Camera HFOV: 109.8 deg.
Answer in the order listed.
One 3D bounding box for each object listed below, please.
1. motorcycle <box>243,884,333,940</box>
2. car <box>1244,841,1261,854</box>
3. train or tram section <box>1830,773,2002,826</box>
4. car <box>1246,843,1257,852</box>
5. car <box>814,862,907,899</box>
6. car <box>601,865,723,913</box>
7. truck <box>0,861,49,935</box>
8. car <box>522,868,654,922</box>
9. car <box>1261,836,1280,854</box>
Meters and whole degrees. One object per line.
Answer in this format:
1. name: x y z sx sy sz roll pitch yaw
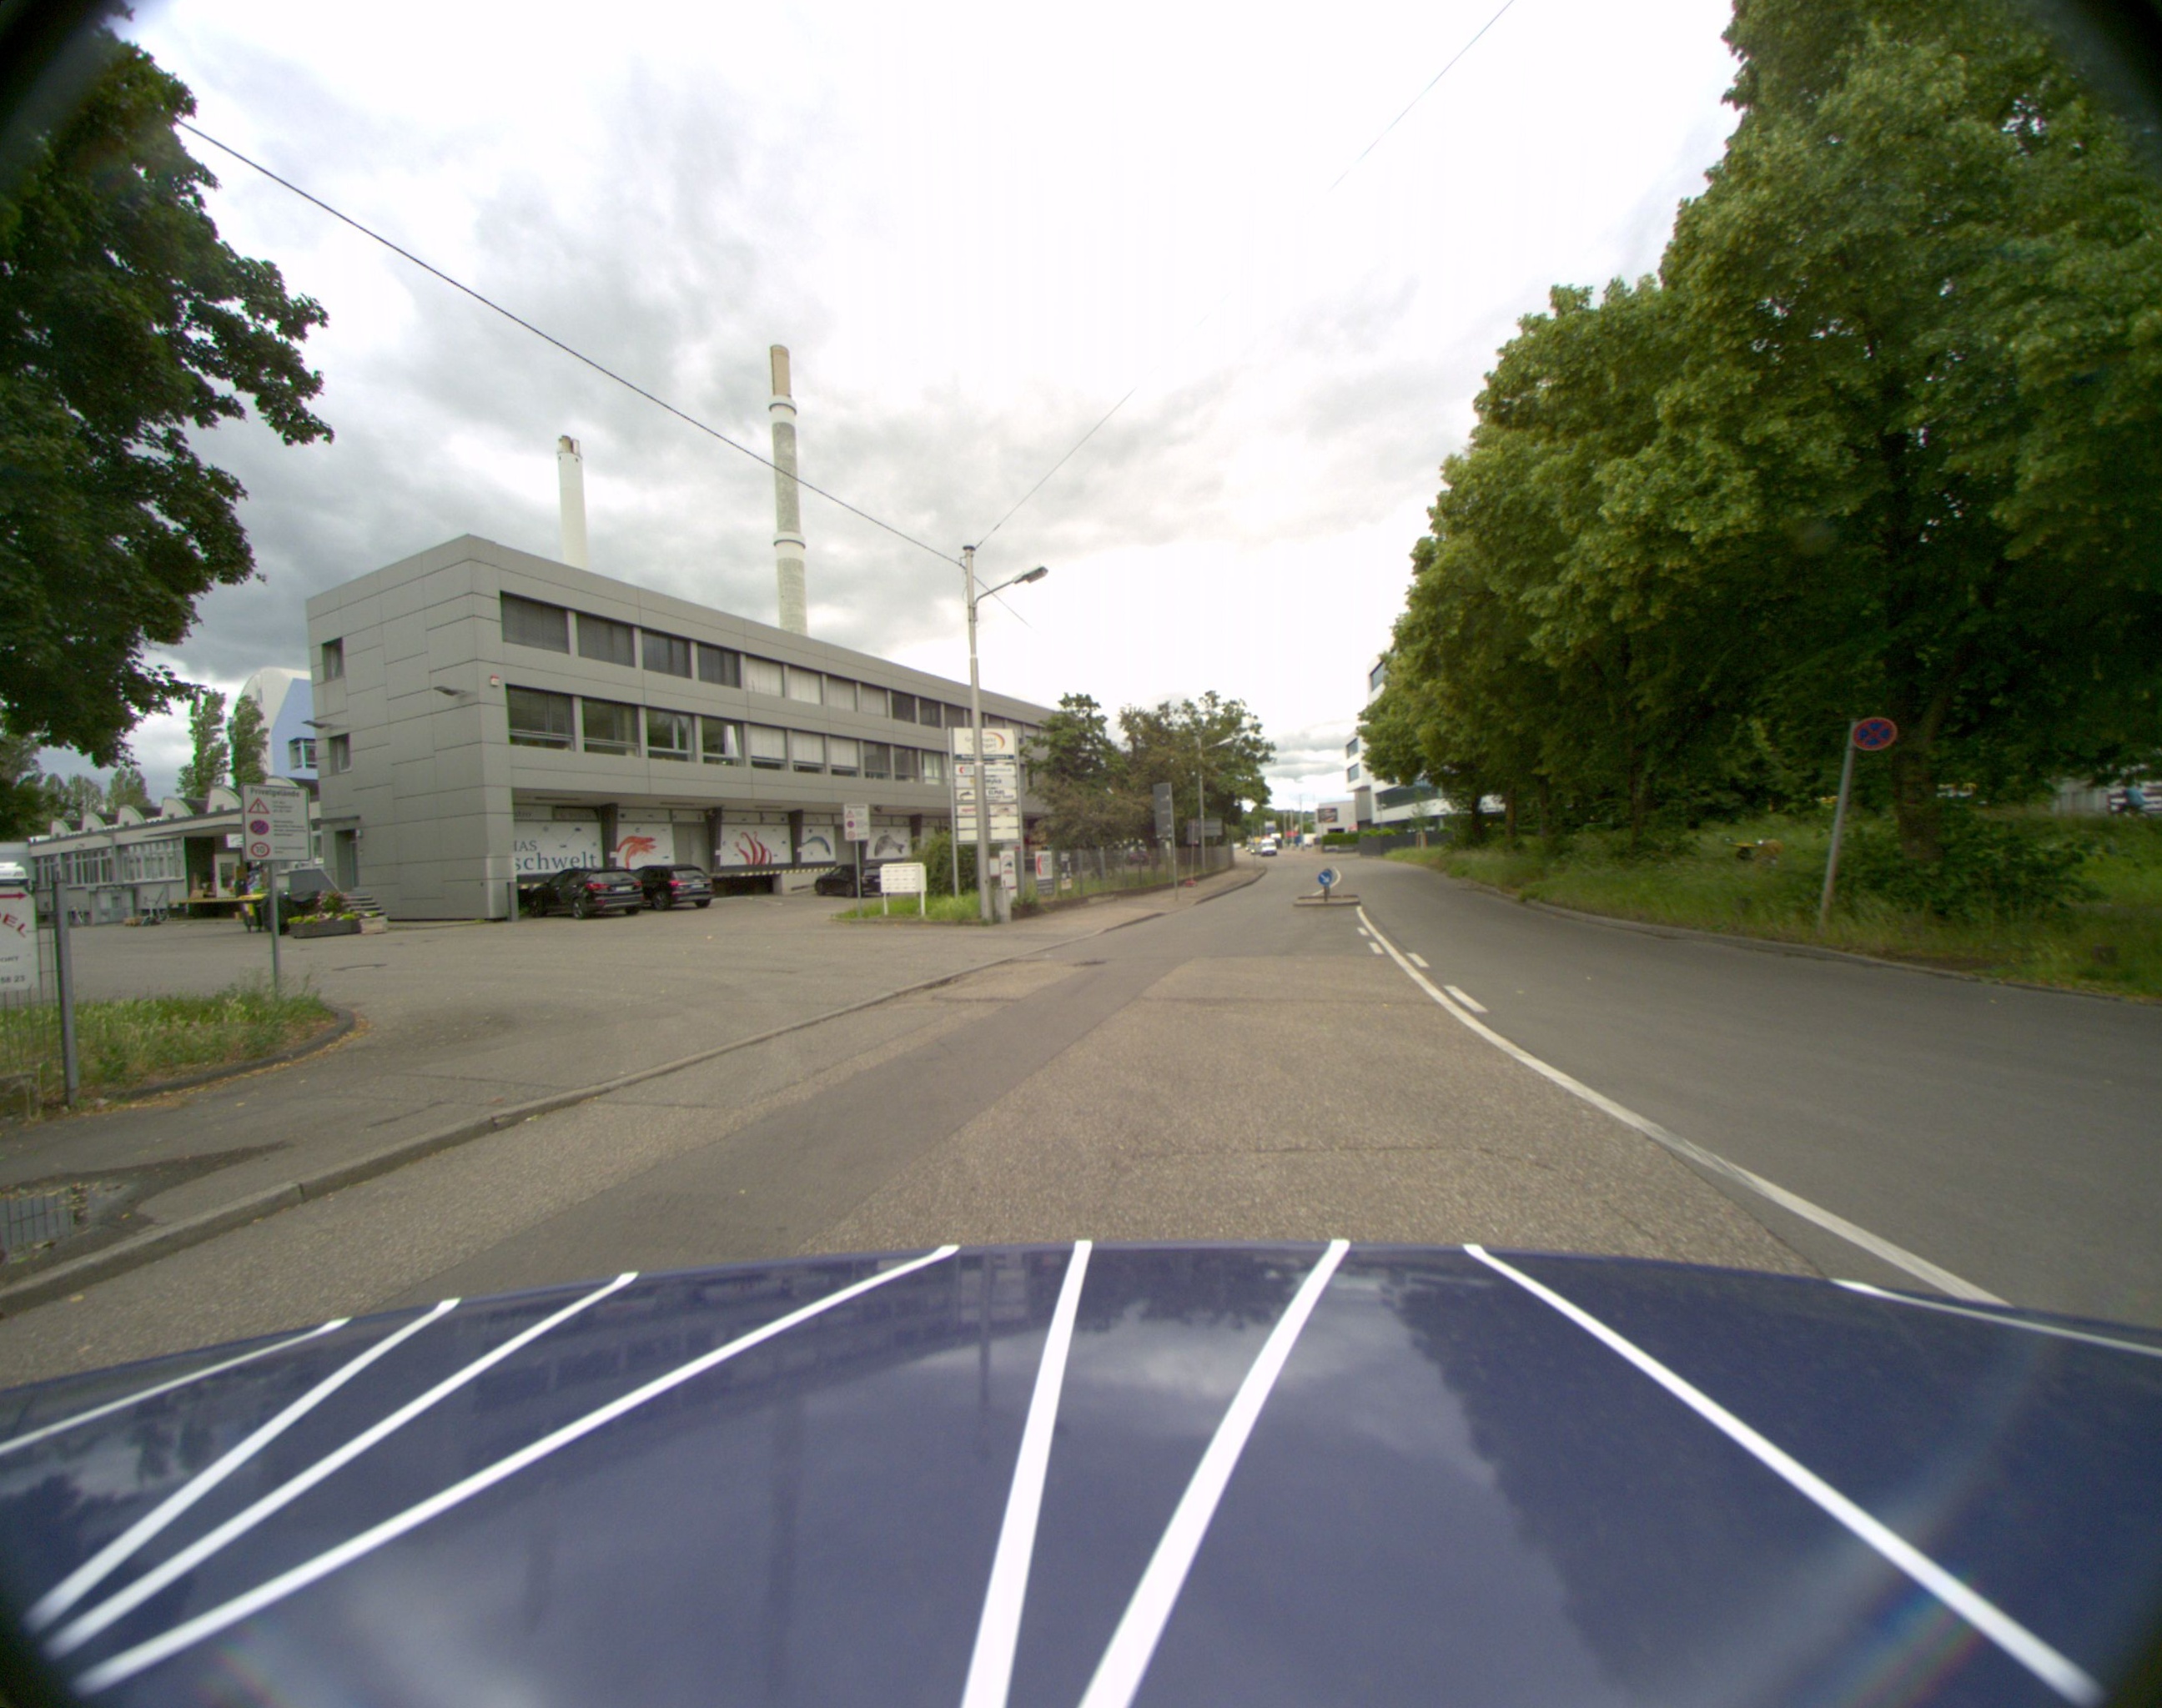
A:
1. motorcycle: -26.341 1.887 25.339 1.198 1.645 2.888 -3 0 -29
2. car: 27.648 -1.005 122.377 2.385 1.859 5.211 -3 0 13
3. train or tram section: 69.960 -4.330 64.597 3.269 3.644 19.205 -3 1 27
4. car: 38.906 -1.458 173.467 2.385 1.859 5.211 -3 0 13
5. car: -10.177 1.154 34.848 2.054 1.437 4.814 -3 3 -44
6. car: -15.709 1.274 28.440 4.412 1.609 1.842 -1 1 28
7. truck: -66.378 2.767 45.554 15.811 4.002 2.877 -3 0 28
8. car: -16.790 1.343 25.824 4.453 1.609 1.842 -1 1 29
9. car: 27.287 -1.342 109.560 2.385 2.444 6.105 -3 0 13
